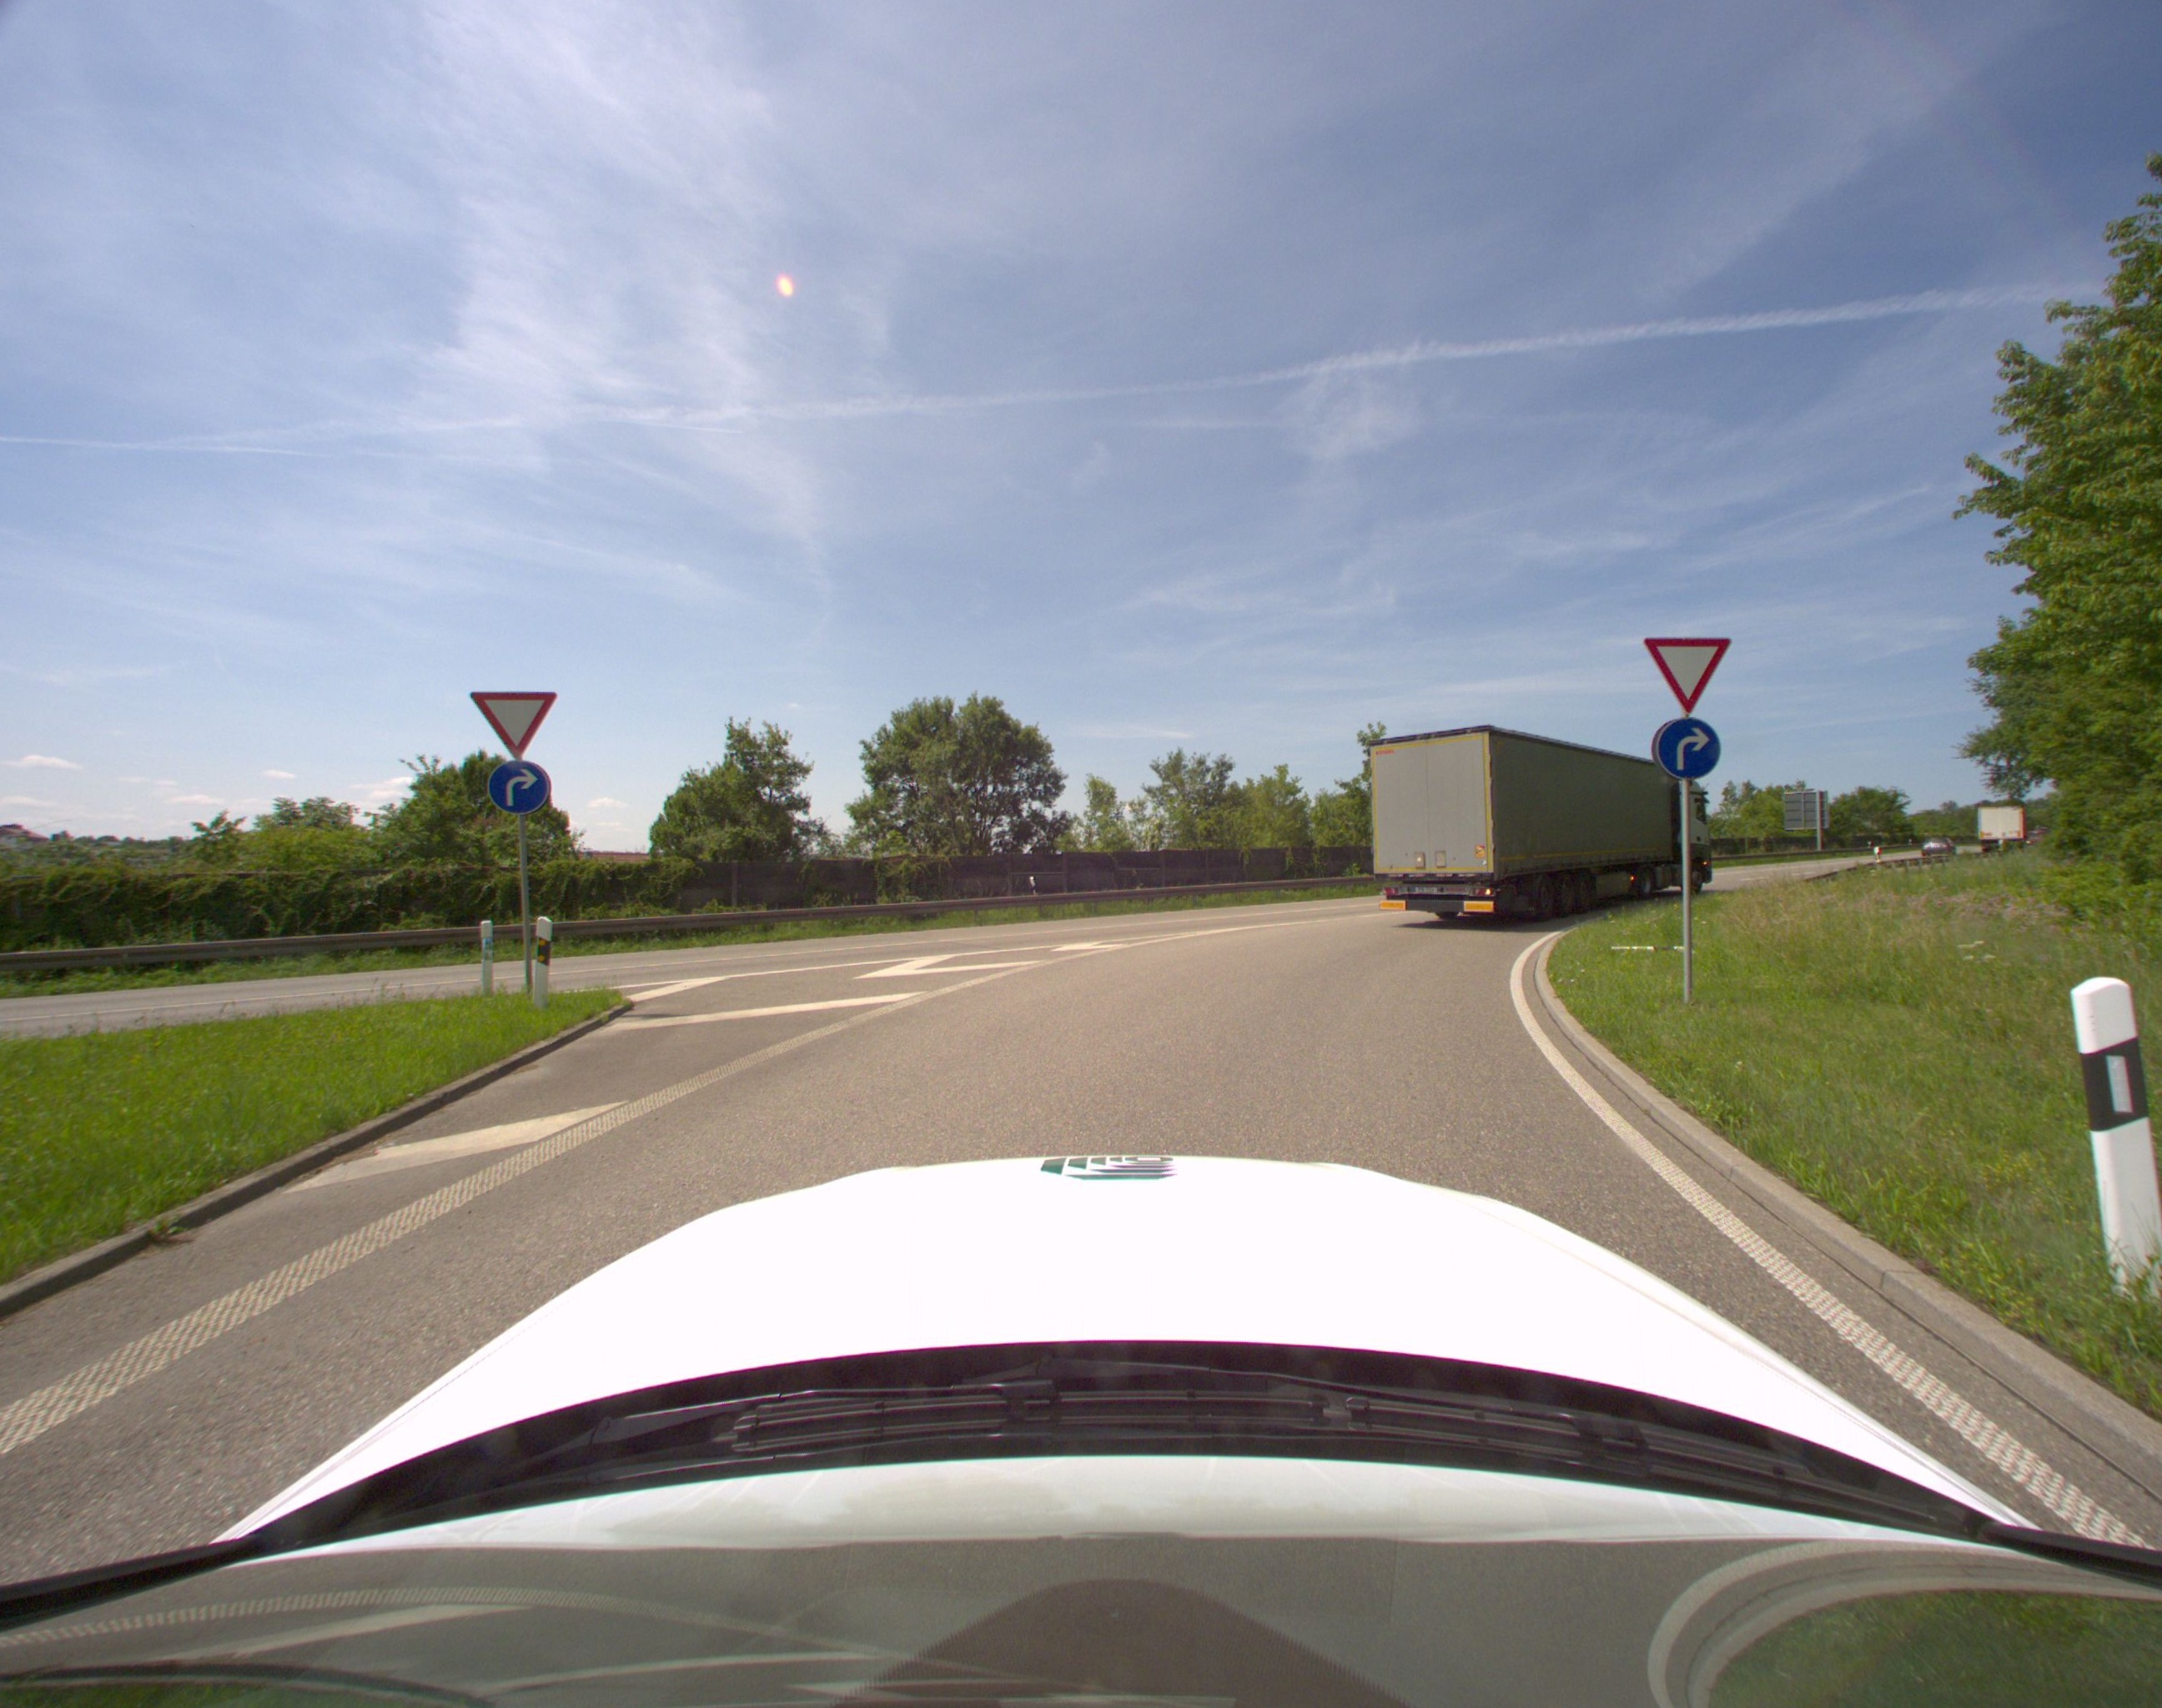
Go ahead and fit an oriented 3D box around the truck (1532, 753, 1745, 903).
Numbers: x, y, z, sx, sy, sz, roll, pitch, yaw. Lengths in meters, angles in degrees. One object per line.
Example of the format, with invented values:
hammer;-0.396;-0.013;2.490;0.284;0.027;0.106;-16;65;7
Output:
truck;18.021;-0.692;26.204;7.150;4.225;3.129;0;-2;-34

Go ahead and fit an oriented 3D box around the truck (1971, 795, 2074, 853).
truck;86.246;-2.636;74.434;16.262;4.744;3.801;-1;-1;-33

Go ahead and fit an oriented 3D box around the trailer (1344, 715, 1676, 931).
trailer;11.656;-0.583;20.824;13.424;4.035;3.000;0;-2;-42

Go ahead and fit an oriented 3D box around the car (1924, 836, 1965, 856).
car;68.894;-0.642;64.947;4.017;1.486;1.653;-1;0;-35
